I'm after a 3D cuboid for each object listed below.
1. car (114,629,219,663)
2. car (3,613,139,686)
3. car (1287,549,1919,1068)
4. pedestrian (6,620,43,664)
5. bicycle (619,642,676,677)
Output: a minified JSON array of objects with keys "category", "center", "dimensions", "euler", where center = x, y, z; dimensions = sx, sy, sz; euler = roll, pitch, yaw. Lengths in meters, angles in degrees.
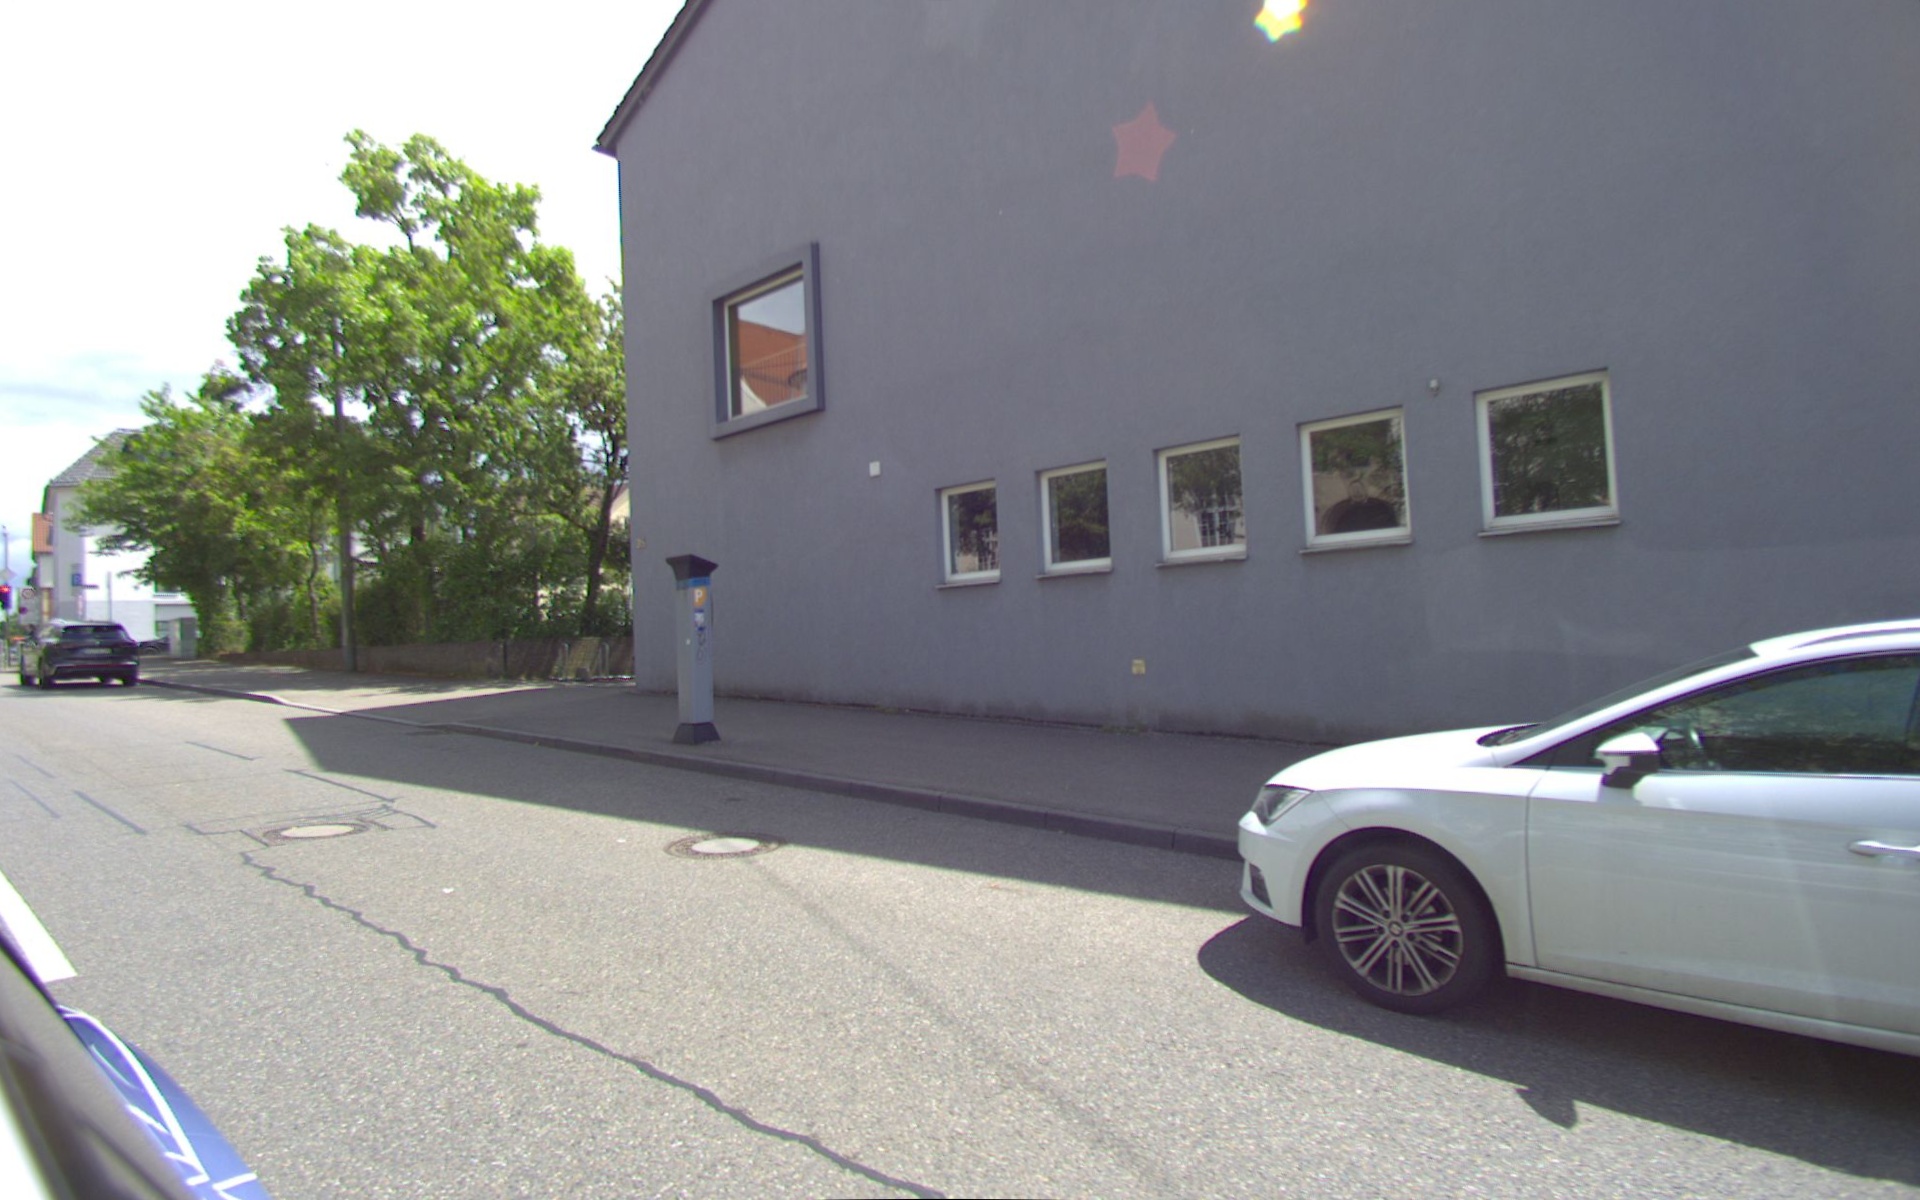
[{"category":"car","center":[-40.195,2.303,51.324],"dimensions":[1.857,1.488,3.946],"euler":[-5,-3,40]},{"category":"car","center":[-22.005,1.221,24.986],"dimensions":[4.640,1.622,1.778],"euler":[-3,-2,39]},{"category":"car","center":[3.257,0.556,3.256],"dimensions":[3.865,1.401,1.679],"euler":[0,0,43]},{"category":"pedestrian","center":[-35.323,1.564,38.227],"dimensions":[0.663,1.609,0.771],"euler":[-2,-1,5]},{"category":"bicycle","center":[-6.994,1.321,22.641],"dimensions":[1.443,0.756,0.580],"euler":[-2,-5,44]}]
